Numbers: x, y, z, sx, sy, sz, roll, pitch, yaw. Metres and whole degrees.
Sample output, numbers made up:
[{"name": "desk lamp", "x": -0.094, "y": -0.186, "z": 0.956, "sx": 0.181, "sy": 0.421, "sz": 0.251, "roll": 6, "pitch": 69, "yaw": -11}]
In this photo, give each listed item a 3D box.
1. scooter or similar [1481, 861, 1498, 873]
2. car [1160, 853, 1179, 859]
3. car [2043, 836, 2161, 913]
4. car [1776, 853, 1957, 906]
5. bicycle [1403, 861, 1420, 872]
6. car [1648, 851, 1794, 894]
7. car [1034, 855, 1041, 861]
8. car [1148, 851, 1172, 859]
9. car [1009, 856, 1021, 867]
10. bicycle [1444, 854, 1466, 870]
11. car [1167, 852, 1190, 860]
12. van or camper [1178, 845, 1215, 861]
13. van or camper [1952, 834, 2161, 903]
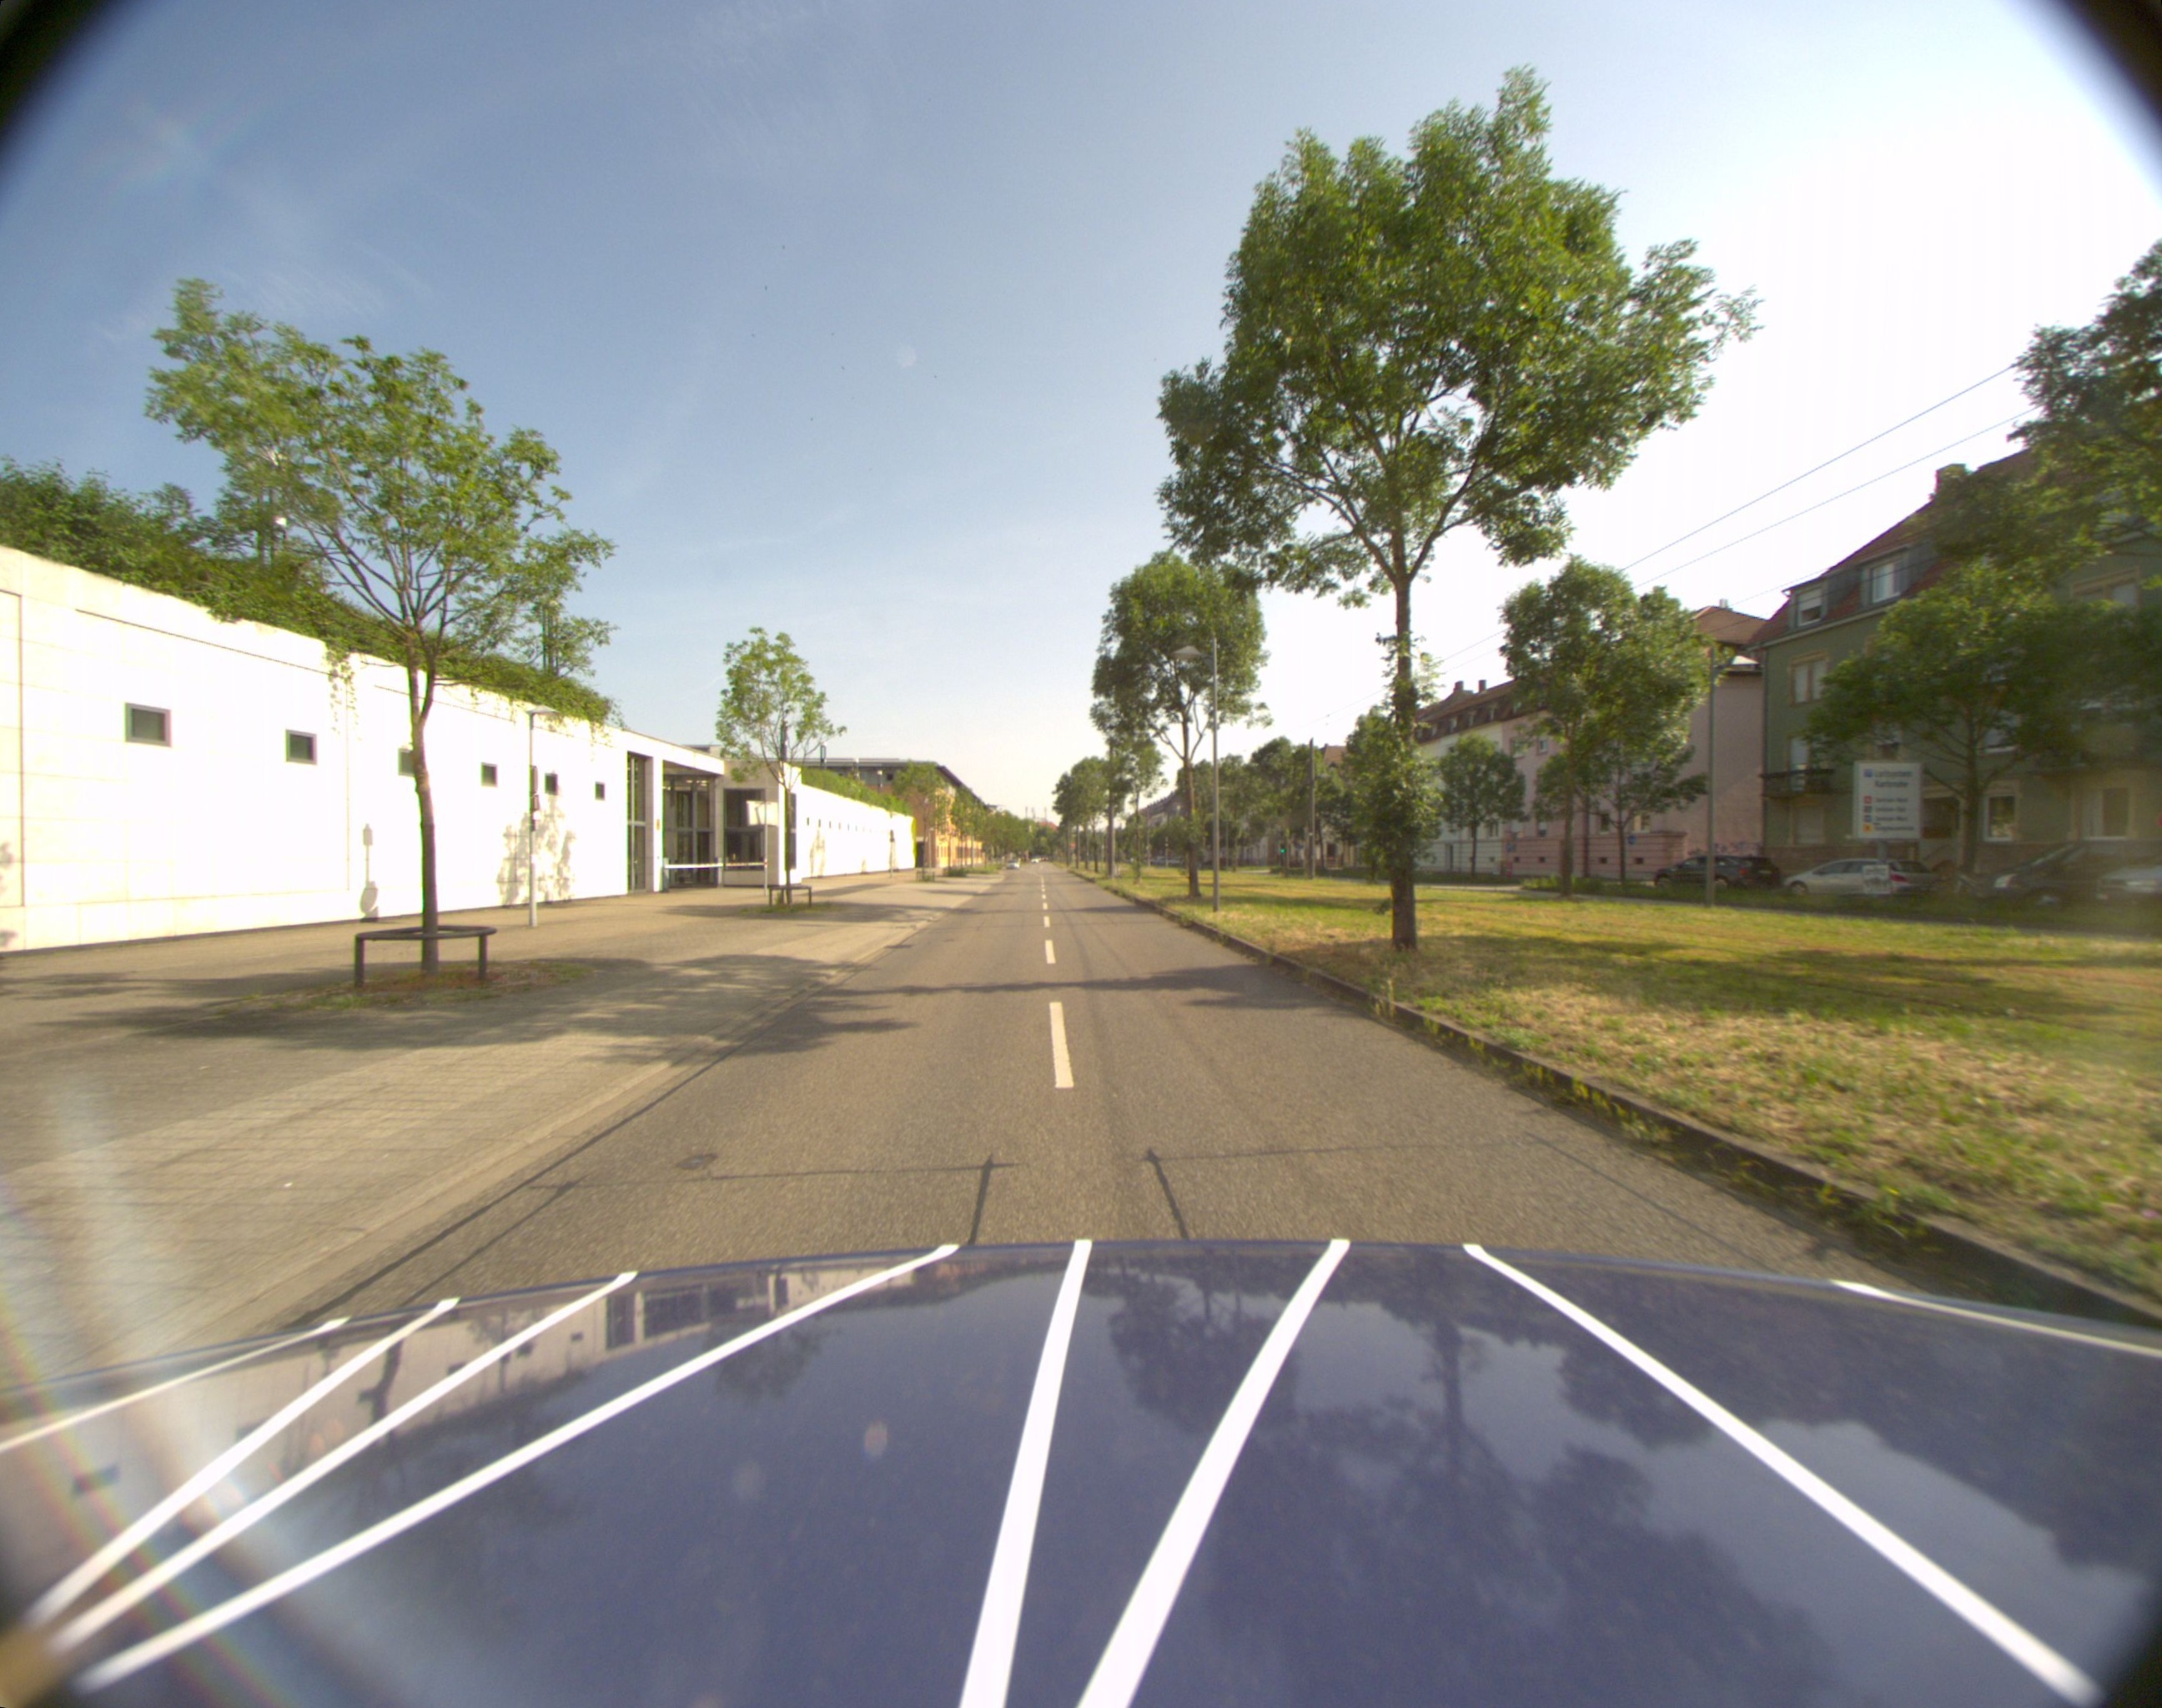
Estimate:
[{"name": "scooter or similar", "x": 29.113, "y": 0.909, "z": 54.155, "sx": 0.605, "sy": 0.808, "sz": 1.221, "roll": -2, "pitch": 1, "yaw": 8}, {"name": "car", "x": 18.864, "y": 0.432, "z": 161.682, "sx": 3.677, "sy": 1.234, "sz": 1.665, "roll": -2, "pitch": 1, "yaw": 32}, {"name": "car", "x": 25.704, "y": 0.395, "z": 16.735, "sx": 5.209, "sy": 1.614, "sz": 2.060, "roll": -2, "pitch": 1, "yaw": 28}, {"name": "car", "x": 27.390, "y": 0.834, "z": 26.729, "sx": 1.895, "sy": 1.619, "sz": 4.154, "roll": -2, "pitch": 0, "yaw": -4}, {"name": "bicycle", "x": 28.563, "y": 1.084, "z": 65.732, "sx": 0.448, "sy": 0.852, "sz": 1.946, "roll": -3, "pitch": 1, "yaw": -4}, {"name": "car", "x": 27.239, "y": 0.714, "z": 32.595, "sx": 1.999, "sy": 1.619, "sz": 4.773, "roll": -2, "pitch": 0, "yaw": -4}, {"name": "car", "x": -11.387, "y": 1.055, "z": 199.523, "sx": 1.693, "sy": 1.476, "sz": 3.364, "roll": -2, "pitch": 1, "yaw": -4}, {"name": "car", "x": 18.222, "y": 0.301, "z": 175.292, "sx": 4.939, "sy": 1.716, "sz": 1.860, "roll": -2, "pitch": 1, "yaw": 32}, {"name": "car", "x": -9.380, "y": 1.086, "z": 108.757, "sx": 1.629, "sy": 1.476, "sz": 3.364, "roll": -2, "pitch": 1, "yaw": -4}, {"name": "bicycle", "x": 28.850, "y": 0.599, "z": 58.664, "sx": 0.605, "sy": 1.121, "sz": 1.946, "roll": -3, "pitch": 1, "yaw": -4}, {"name": "car", "x": 19.079, "y": 0.404, "z": 148.247, "sx": 4.004, "sy": 1.309, "sz": 1.665, "roll": -2, "pitch": 1, "yaw": 32}, {"name": "van or camper", "x": 20.588, "y": -0.161, "z": 135.581, "sx": 5.910, "sy": 2.559, "sz": 2.203, "roll": -2, "pitch": 1, "yaw": 32}, {"name": "van or camper", "x": 26.281, "y": 0.361, "z": 19.464, "sx": 4.837, "sy": 1.614, "sz": 2.006, "roll": -2, "pitch": 1, "yaw": 32}]
